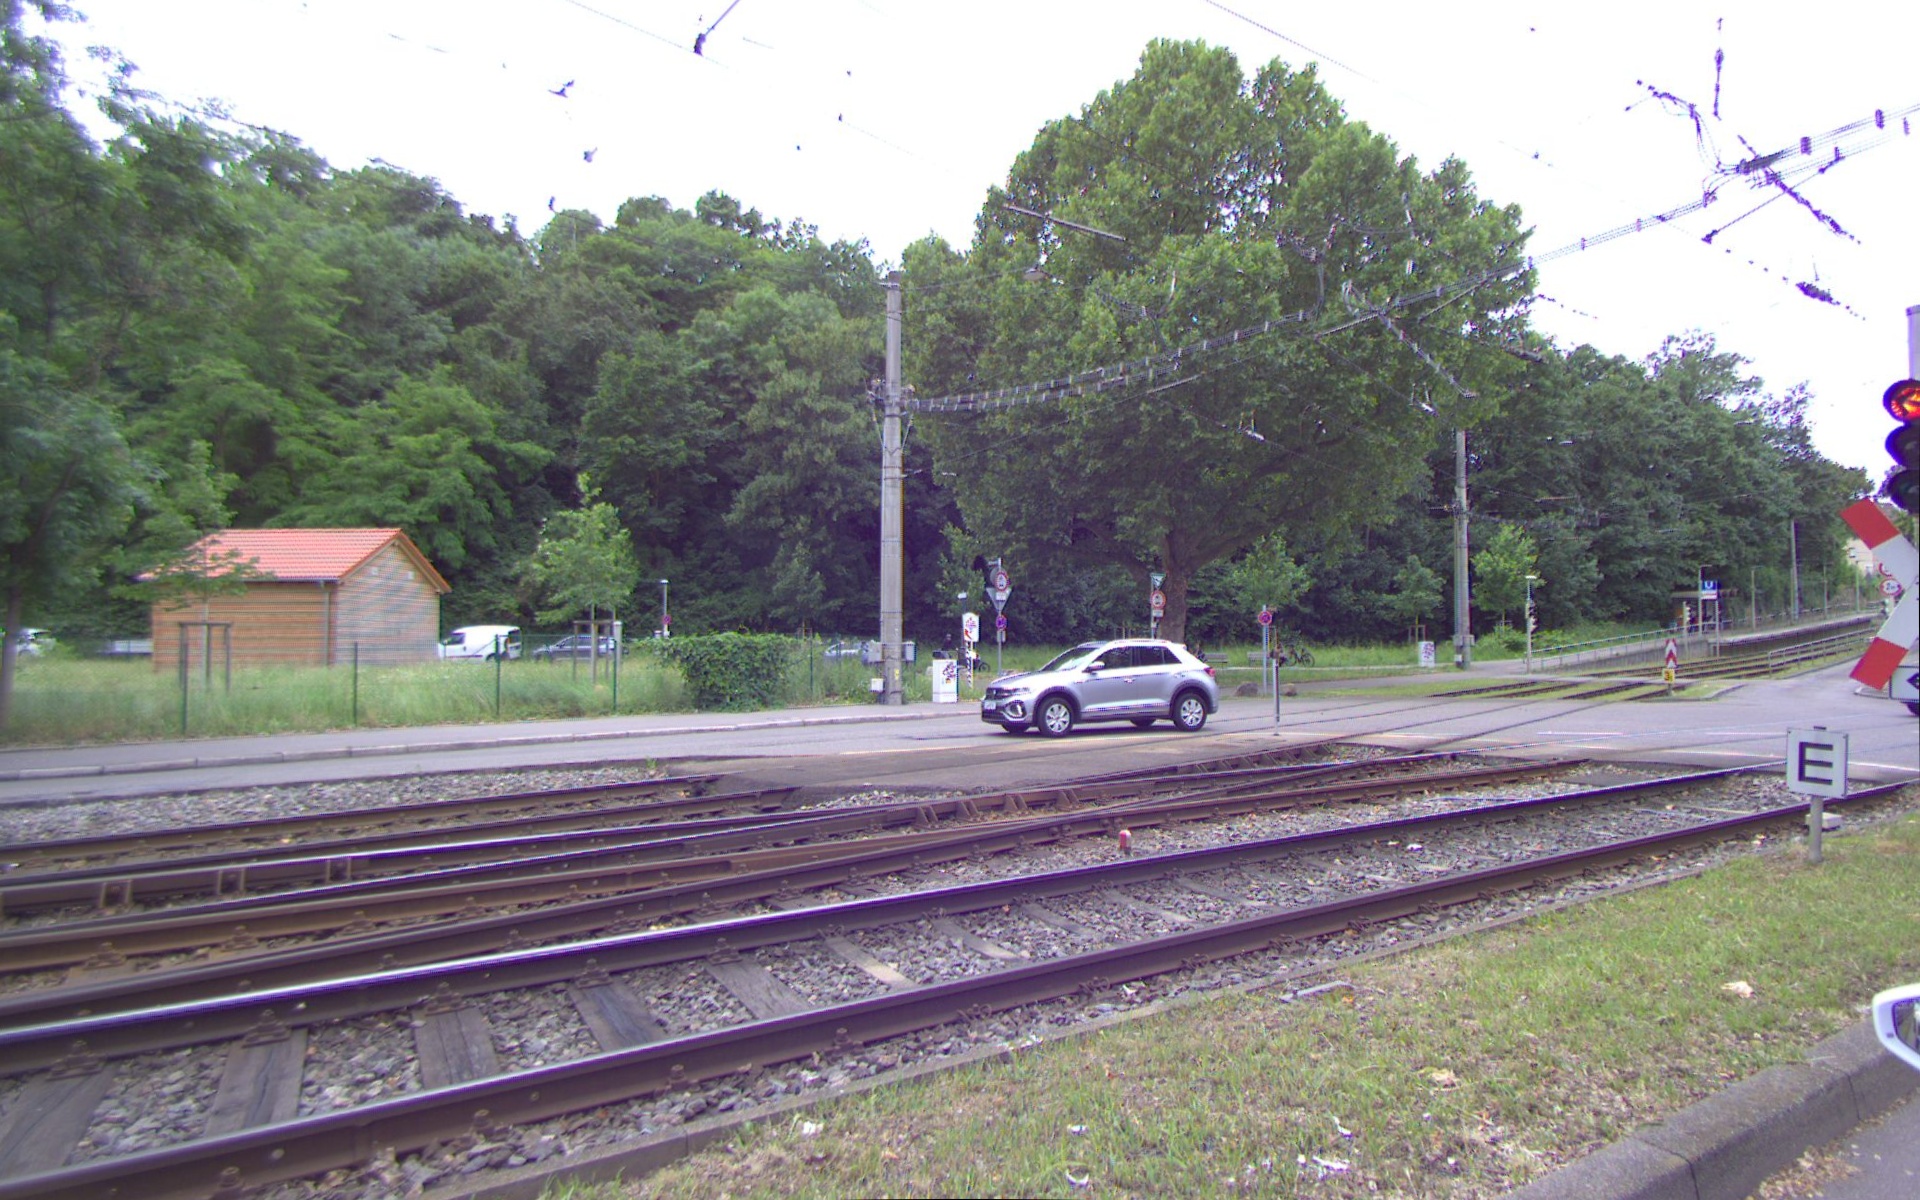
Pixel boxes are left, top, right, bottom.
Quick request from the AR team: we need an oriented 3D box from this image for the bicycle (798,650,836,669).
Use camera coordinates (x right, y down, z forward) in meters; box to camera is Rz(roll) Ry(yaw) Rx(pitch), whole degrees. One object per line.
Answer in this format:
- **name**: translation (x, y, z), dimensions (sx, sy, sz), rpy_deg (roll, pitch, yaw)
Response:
- **bicycle**: translation (-6.300, 2.629, 44.176), dimensions (1.623, 0.749, 0.454), rpy_deg (-1, 2, -9)

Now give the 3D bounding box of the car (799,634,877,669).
- **car**: translation (-5.655, 2.382, 46.851), dimensions (3.436, 1.443, 1.700), rpy_deg (2, 0, -3)

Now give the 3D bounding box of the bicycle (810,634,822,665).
- **bicycle**: translation (-6.347, 2.167, 44.157), dimensions (0.506, 1.348, 0.454), rpy_deg (-1, 2, -9)

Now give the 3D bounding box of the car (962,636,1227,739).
- **car**: translation (2.306, 1.452, 17.444), dimensions (4.114, 1.599, 1.992), rpy_deg (0, -3, -20)

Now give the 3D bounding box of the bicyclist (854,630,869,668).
- **bicyclist**: translation (-4.455, 2.202, 45.325), dimensions (0.613, 1.697, 0.474), rpy_deg (-1, 2, -15)

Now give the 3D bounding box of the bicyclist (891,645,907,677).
- **bicyclist**: translation (-2.625, 2.629, 43.258), dimensions (0.446, 1.319, 0.580), rpy_deg (-1, 3, 24)

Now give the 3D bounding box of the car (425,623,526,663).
- **car**: translation (-21.909, 1.932, 45.527), dimensions (3.610, 1.634, 1.909), rpy_deg (2, 0, -3)

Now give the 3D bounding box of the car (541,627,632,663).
- **car**: translation (-16.862, 2.034, 45.470), dimensions (3.436, 1.443, 1.700), rpy_deg (2, 0, -3)

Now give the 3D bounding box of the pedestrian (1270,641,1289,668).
- **pedestrian**: translation (15.525, 2.638, 48.774), dimensions (0.662, 1.251, 0.578), rpy_deg (2, 0, -16)

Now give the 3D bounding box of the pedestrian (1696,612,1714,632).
- **pedestrian**: translation (49.976, 1.477, 67.390), dimensions (0.780, 1.344, 0.766), rpy_deg (2, 0, -38)

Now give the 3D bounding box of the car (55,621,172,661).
- **car**: translation (-37.595, 1.811, 44.684), dimensions (3.610, 1.634, 1.757), rpy_deg (2, 0, -3)

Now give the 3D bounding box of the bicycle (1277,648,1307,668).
- **bicycle**: translation (16.305, 2.851, 49.398), dimensions (0.611, 0.897, 1.743), rpy_deg (2, 0, -10)

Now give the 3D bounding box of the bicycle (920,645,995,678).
- **bicycle**: translation (-0.108, 2.743, 45.138), dimensions (3.283, 1.307, 0.734), rpy_deg (-2, 2, -6)

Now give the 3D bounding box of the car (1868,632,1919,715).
- **car**: translation (22.137, 1.571, 21.276), dimensions (4.055, 1.740, 1.907), rpy_deg (1, -4, -1)

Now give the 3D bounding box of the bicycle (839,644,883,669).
- **bicycle**: translation (-4.460, 2.531, 45.335), dimensions (1.912, 1.055, 0.474), rpy_deg (-1, 2, -15)

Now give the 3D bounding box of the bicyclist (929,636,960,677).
- **bicyclist**: translation (-0.709, 2.530, 45.077), dimensions (1.268, 1.734, 0.734), rpy_deg (-2, 2, -6)

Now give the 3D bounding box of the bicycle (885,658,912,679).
- **bicycle**: translation (-2.636, 2.936, 43.234), dimensions (0.446, 0.749, 1.557), rpy_deg (-1, 3, 24)

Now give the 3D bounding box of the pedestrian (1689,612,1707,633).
- **pedestrian**: translation (48.950, 1.475, 66.622), dimensions (0.780, 1.344, 0.766), rpy_deg (-1, 2, -37)

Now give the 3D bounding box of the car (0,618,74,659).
- **car**: translation (-41.788, 1.681, 44.363), dimensions (3.612, 1.634, 1.756), rpy_deg (2, 0, -6)

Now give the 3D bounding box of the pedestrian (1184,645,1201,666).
- **pedestrian**: translation (11.188, 2.662, 48.329), dimensions (0.610, 1.003, 0.530), rpy_deg (2, 0, -15)
